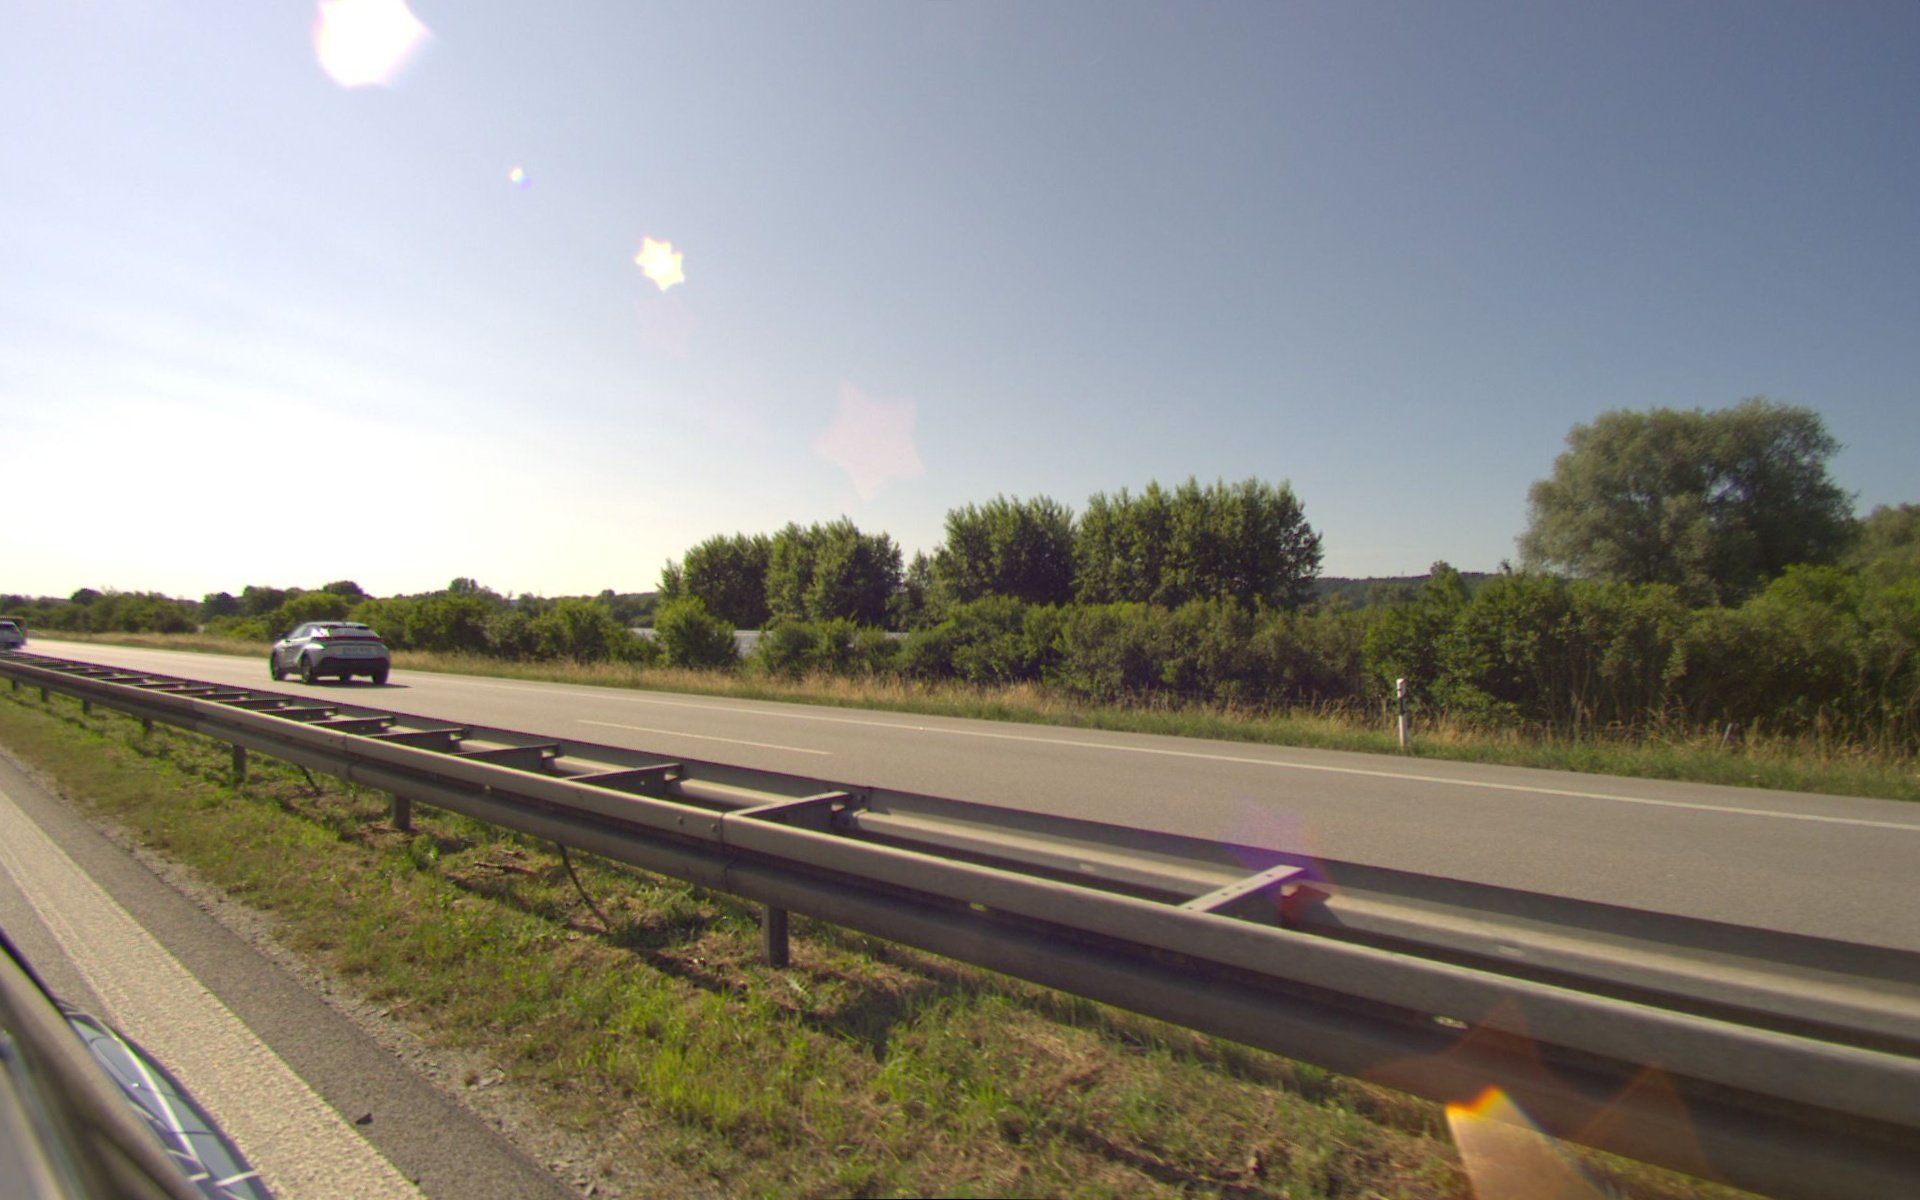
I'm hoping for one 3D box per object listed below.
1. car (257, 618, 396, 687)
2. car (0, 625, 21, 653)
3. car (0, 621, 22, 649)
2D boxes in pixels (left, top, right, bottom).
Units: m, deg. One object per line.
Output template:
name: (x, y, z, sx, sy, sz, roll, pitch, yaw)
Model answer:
car: (-16.431, 1.323, 26.159, 4.766, 1.594, 1.707, -1, -5, 42)
car: (-52.227, 2.077, 54.693, 4.470, 1.431, 1.747, -1, -5, 43)
car: (-62.696, 2.237, 65.919, 4.748, 1.785, 1.929, -1, -5, 43)
